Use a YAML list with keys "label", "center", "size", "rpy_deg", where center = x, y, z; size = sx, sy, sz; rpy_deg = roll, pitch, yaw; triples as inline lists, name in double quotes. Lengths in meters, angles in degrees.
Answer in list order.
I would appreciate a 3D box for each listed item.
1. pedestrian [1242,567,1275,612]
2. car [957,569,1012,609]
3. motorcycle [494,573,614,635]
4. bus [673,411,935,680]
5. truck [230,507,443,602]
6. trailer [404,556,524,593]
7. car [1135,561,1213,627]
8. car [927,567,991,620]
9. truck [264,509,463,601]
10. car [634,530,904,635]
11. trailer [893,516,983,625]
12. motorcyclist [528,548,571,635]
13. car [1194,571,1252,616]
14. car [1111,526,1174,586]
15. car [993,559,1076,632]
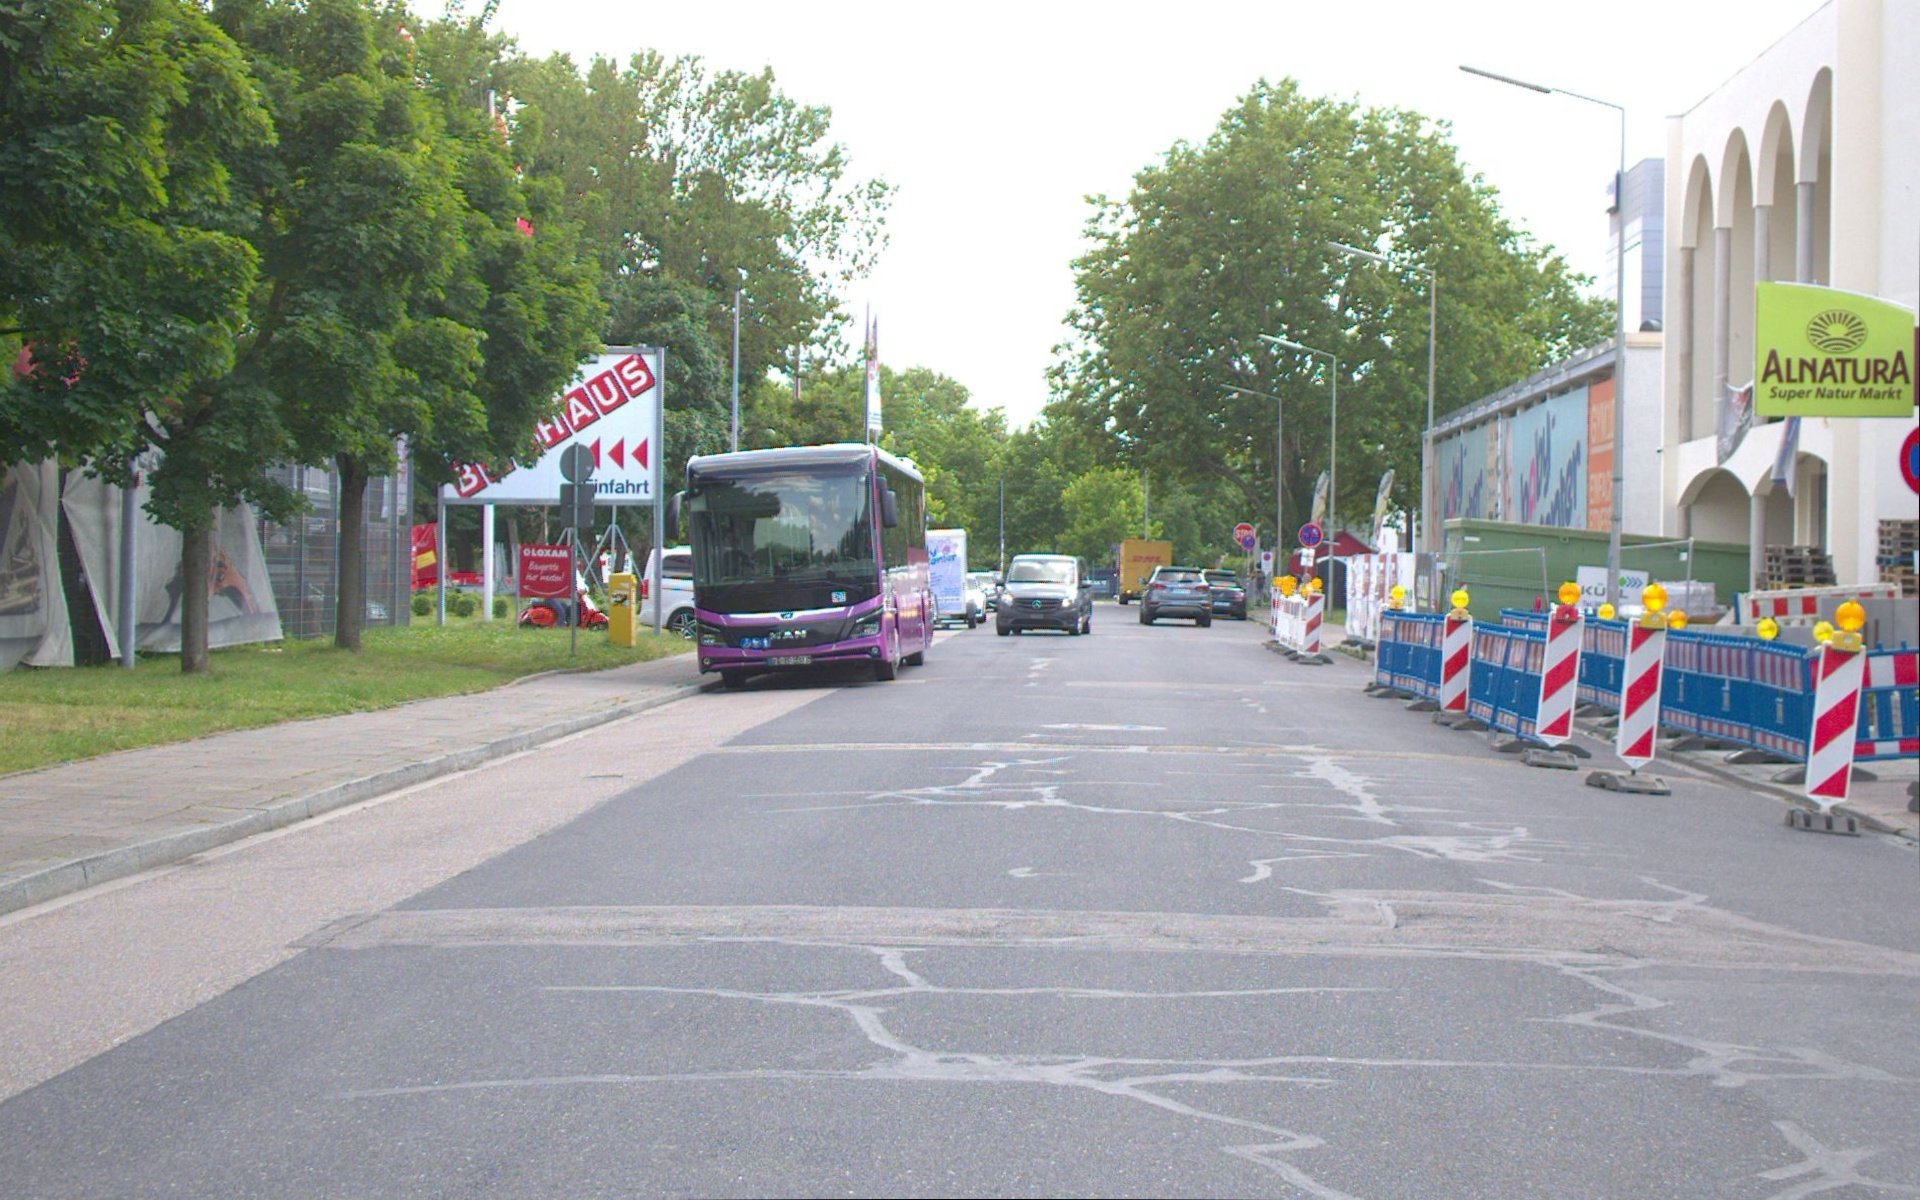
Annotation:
- label: "pedestrian"
  center: [12.516, -0.452, 144.234]
  size: [1.000, 1.843, 1.230]
  rpy_deg: [1, 0, -15]
- label: "car"
  center: [0.920, -0.415, 126.989]
  size: [1.710, 1.415, 4.330]
  rpy_deg: [-2, 0, 4]
- label: "motorcycle"
  center: [-8.086, 0.077, 68.535]
  size: [2.221, 1.209, 0.994]
  rpy_deg: [1, 0, 3]
- label: "bus"
  center: [-2.094, -0.775, 51.605]
  size: [2.663, 3.411, 13.217]
  rpy_deg: [-2, 0, 2]
- label: "truck"
  center: [-18.164, -1.332, 100.281]
  size: [5.755, 2.585, 1.815]
  rpy_deg: [1, -1, 5]
- label: "trailer"
  center: [-17.317, -0.899, 120.119]
  size: [3.818, 1.186, 1.714]
  rpy_deg: [1, 1, 9]
- label: "car"
  center: [6.106, -0.186, 98.430]
  size: [1.962, 1.809, 4.275]
  rpy_deg: [1, 1, 1]
- label: "car"
  center: [0.003, -0.204, 102.210]
  size: [1.765, 1.474, 4.235]
  rpy_deg: [-1, 1, 1]
- label: "truck"
  center: [-17.918, -1.340, 103.381]
  size: [5.548, 2.585, 1.779]
  rpy_deg: [1, -1, 3]
- label: "car"
  center: [-3.747, -0.351, 67.846]
  size: [5.002, 1.942, 1.991]
  rpy_deg: [1, 1, 8]
- label: "trailer"
  center: [-0.550, -0.797, 91.435]
  size: [2.139, 2.774, 4.703]
  rpy_deg: [-1, 1, 2]
- label: "motorcyclist"
  center: [-8.184, -0.182, 68.533]
  size: [0.674, 1.717, 0.994]
  rpy_deg: [1, 0, 3]
- label: "car"
  center: [8.897, -0.235, 116.607]
  size: [1.808, 1.386, 4.587]
  rpy_deg: [4, 1, 4]
- label: "car"
  center: [8.079, -1.951, 152.961]
  size: [2.198, 2.569, 6.405]
  rpy_deg: [1, 1, -2]
- label: "car"
  center: [1.742, -0.122, 80.034]
  size: [1.868, 1.624, 4.127]
  rpy_deg: [1, 1, 2]
